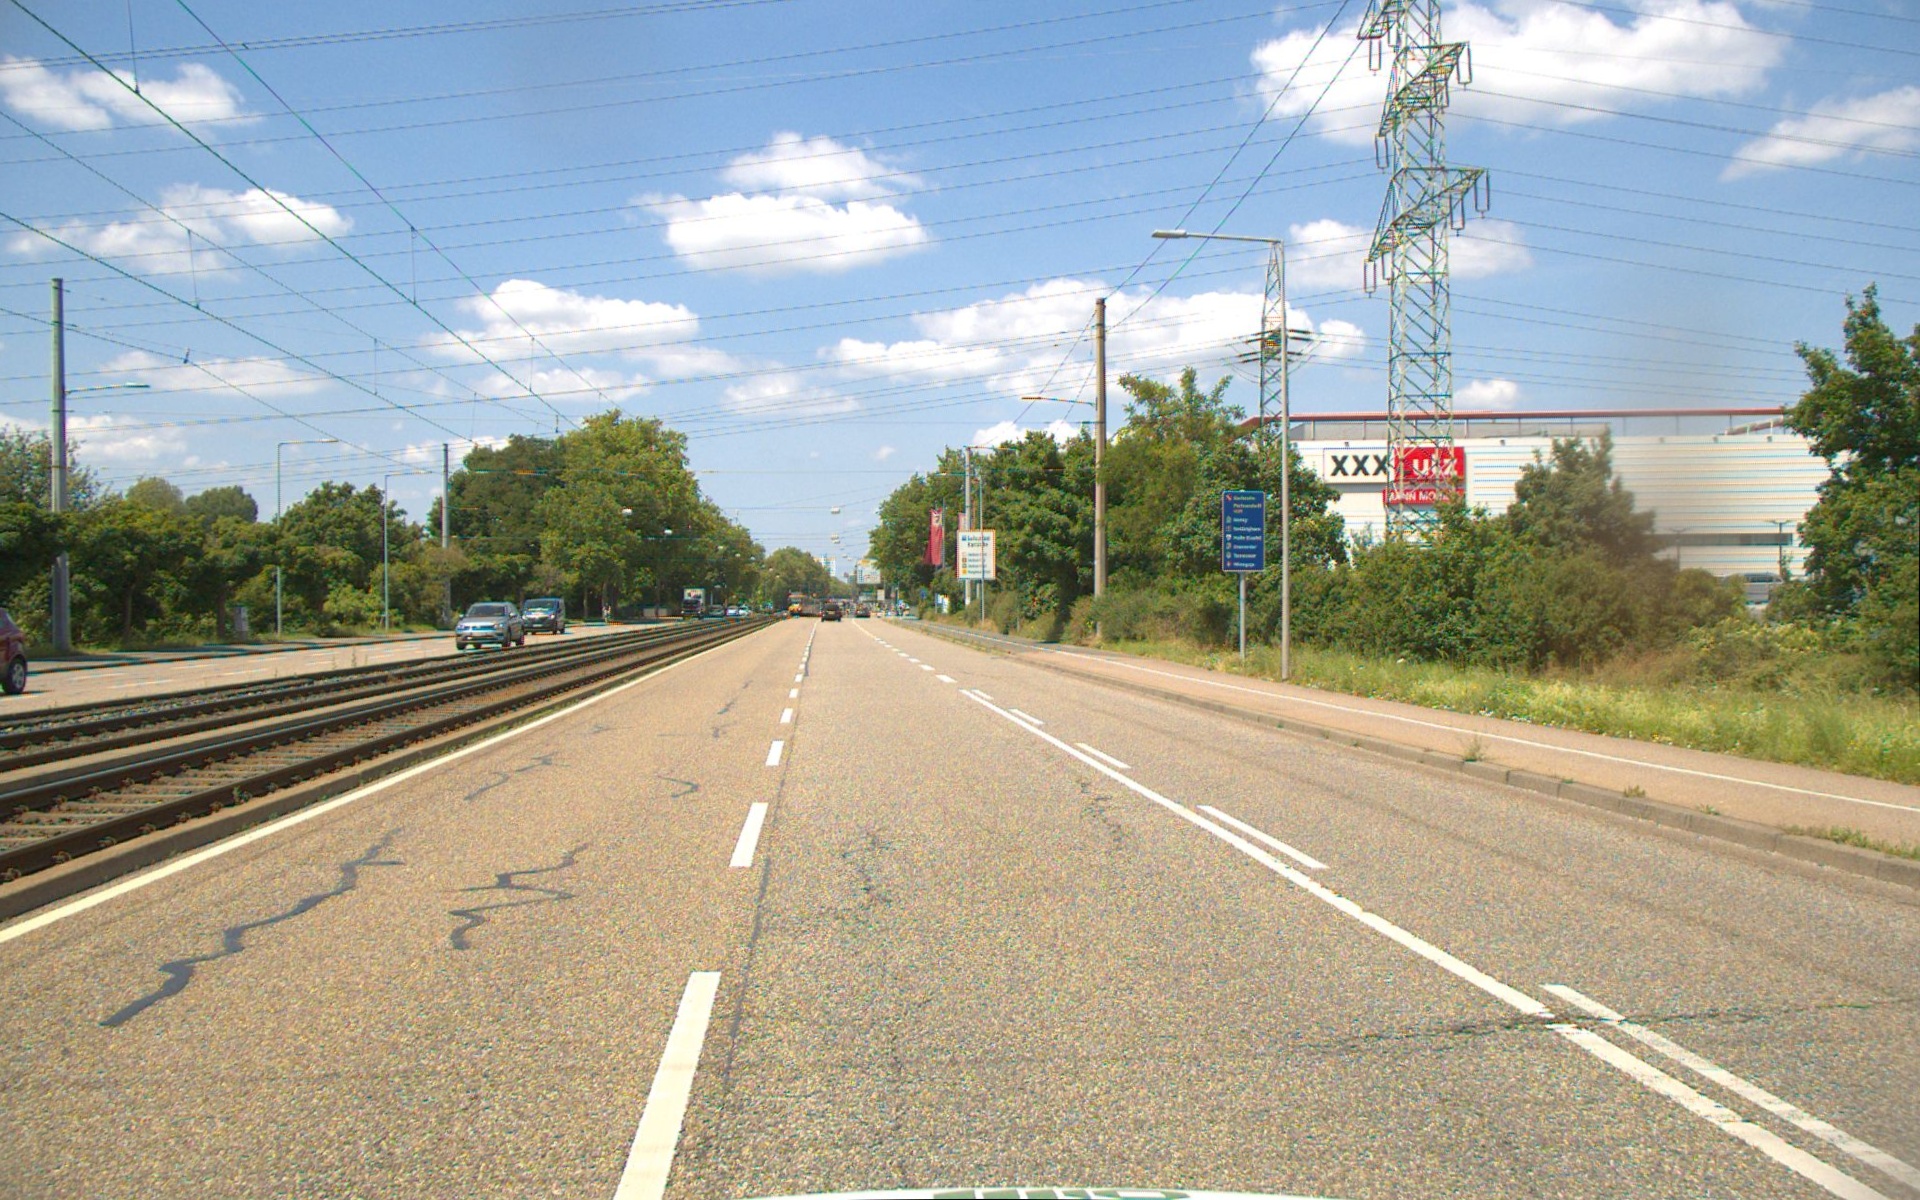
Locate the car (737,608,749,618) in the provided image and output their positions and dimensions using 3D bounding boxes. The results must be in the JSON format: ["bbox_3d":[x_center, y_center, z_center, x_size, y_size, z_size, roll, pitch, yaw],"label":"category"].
[{"bbox_3d":[-33.324,1.967,254.026,1.605,1.461,3.717,-2,0,-5],"label":"car"}]

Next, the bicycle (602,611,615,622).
[{"bbox_3d":[-29.845,1.384,140.539,0.637,0.874,2.120,1,0,-1],"label":"bicycle"}]

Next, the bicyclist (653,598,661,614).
[{"bbox_3d":[-31.558,0.604,172.314,0.610,1.645,1.062,1,0,1],"label":"bicyclist"}]

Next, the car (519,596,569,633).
[{"bbox_3d":[-23.093,0.777,91.937,1.821,1.961,5.002,-2,0,-5],"label":"car"}]

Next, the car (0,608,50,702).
[{"bbox_3d":[-17.900,1.007,29.034,1.766,1.653,4.207,-2,0,-5],"label":"car"}]

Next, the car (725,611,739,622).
[{"bbox_3d":[-32.048,2.335,232.638,1.604,1.446,4.124,-2,0,-4],"label":"car"}]

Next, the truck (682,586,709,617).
[{"bbox_3d":[-28.845,0.204,180.596,2.205,3.293,6.037,-1,0,-3],"label":"truck"}]

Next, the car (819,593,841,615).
[{"bbox_3d":[-11.542,0.388,146.264,1.862,1.837,3.972,1,-1,-5],"label":"car"}]

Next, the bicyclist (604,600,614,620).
[{"bbox_3d":[-29.838,0.860,140.526,0.637,1.648,1.155,1,0,-1],"label":"bicyclist"}]

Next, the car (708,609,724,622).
[{"bbox_3d":[-29.925,1.891,202.952,1.718,1.562,3.952,-2,0,-6],"label":"car"}]

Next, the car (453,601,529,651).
[{"bbox_3d":[-16.839,0.906,59.589,1.766,1.653,4.489,-2,0,-5],"label":"car"}]

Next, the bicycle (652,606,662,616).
[{"bbox_3d":[-31.577,1.103,172.372,0.610,0.997,2.055,2,0,1],"label":"bicycle"}]
